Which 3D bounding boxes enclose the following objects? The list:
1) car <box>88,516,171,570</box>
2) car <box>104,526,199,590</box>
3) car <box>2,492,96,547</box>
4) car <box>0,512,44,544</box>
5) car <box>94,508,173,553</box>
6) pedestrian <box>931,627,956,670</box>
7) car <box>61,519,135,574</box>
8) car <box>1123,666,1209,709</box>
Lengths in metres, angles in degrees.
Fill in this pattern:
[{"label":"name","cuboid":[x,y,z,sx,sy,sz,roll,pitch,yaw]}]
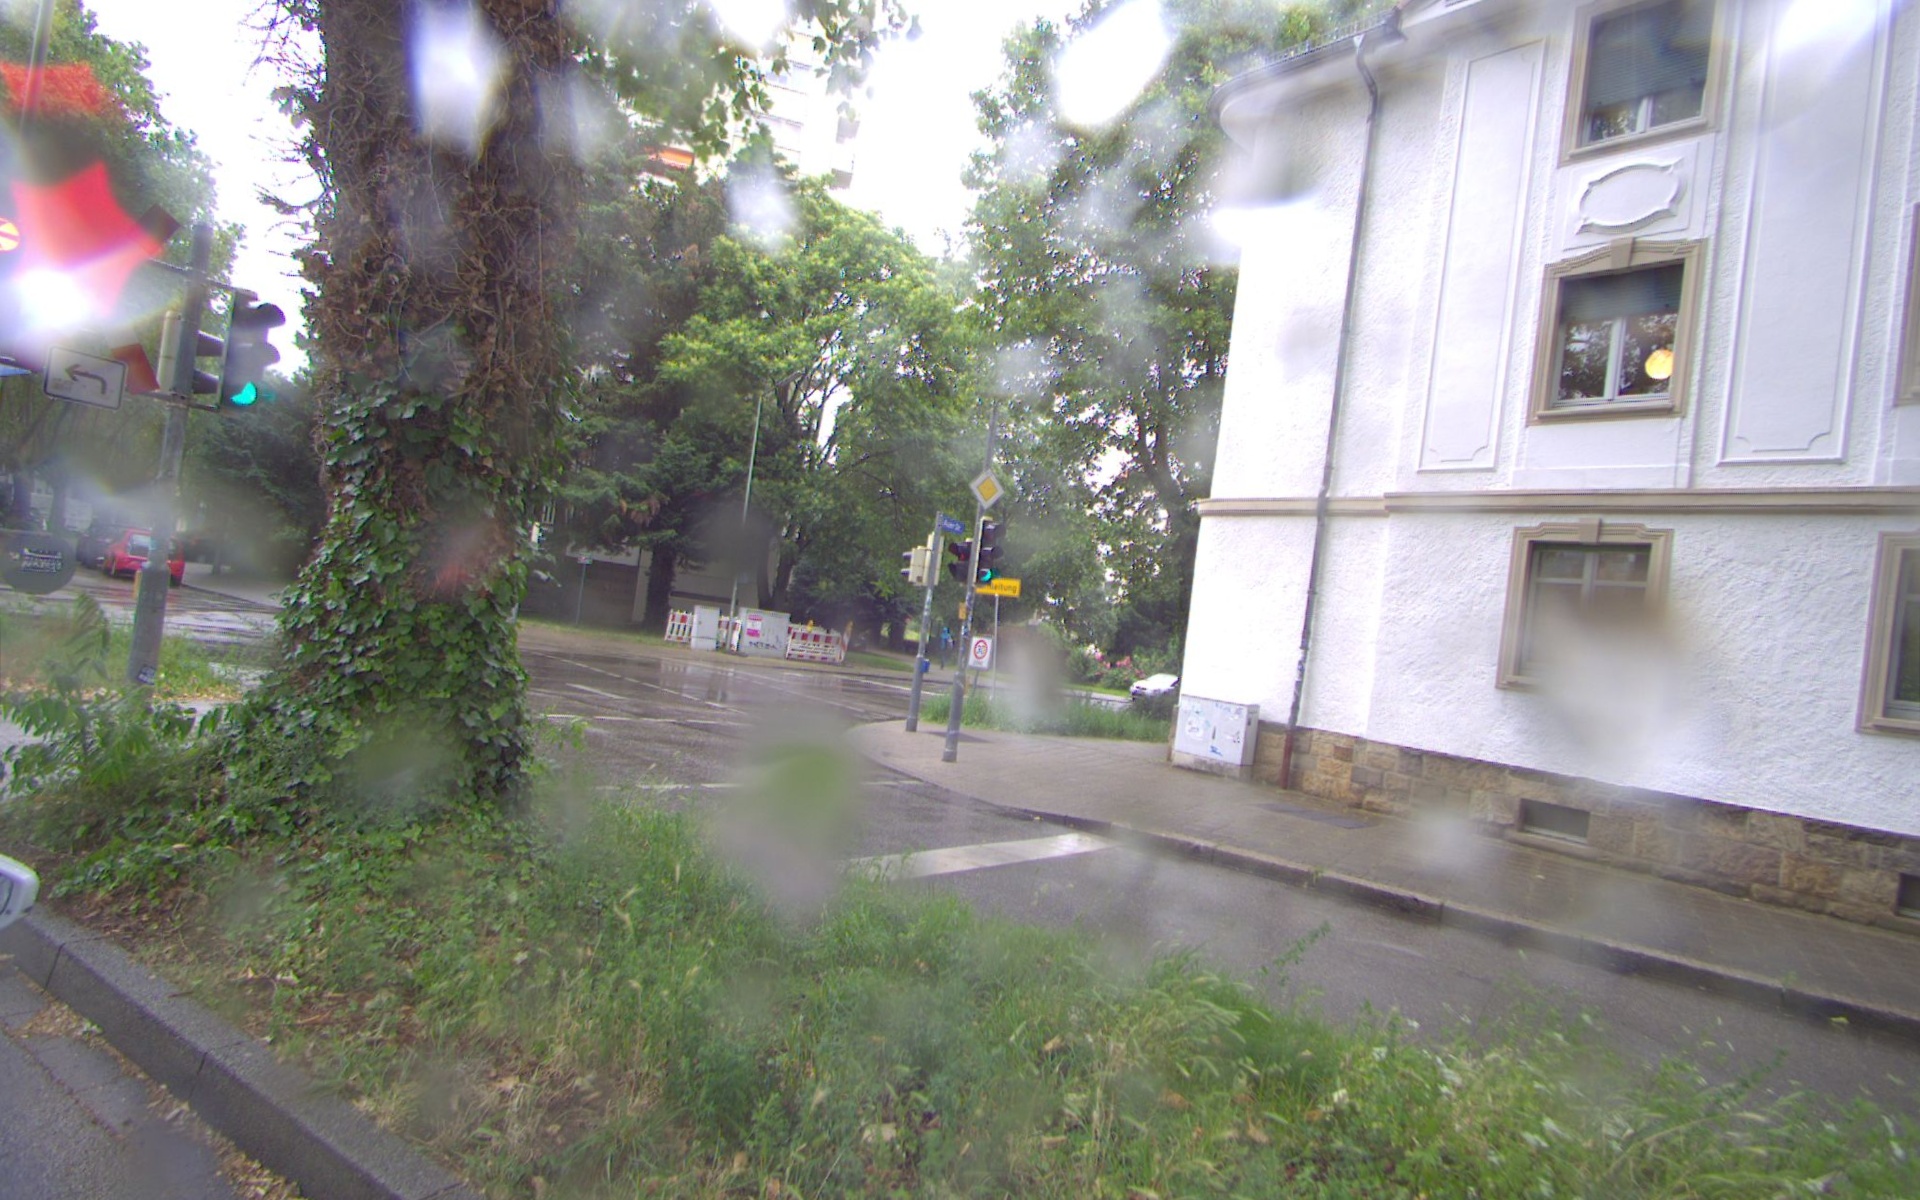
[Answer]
[{"label":"car","cuboid":[-28.093,-1.939,33.997,1.780,1.363,3.879,10,-2,-44]},{"label":"car","cuboid":[-24.827,-1.311,30.840,1.788,1.515,3.950,10,-2,-44]},{"label":"car","cuboid":[-61.104,-5.394,67.532,4.680,2.982,2.043,7,-1,12]},{"label":"car","cuboid":[-56.199,-4.379,58.627,1.974,1.565,3.980,6,-3,44]},{"label":"car","cuboid":[-69.641,-5.844,84.813,4.683,2.982,2.001,7,-1,1]},{"label":"pedestrian","cuboid":[-0.757,2.260,46.815,0.675,1.863,0.707,8,-1,-44]},{"label":"car","cuboid":[-32.978,-2.080,38.452,1.779,1.747,3.951,9,-2,-44]},{"label":"car","cuboid":[9.416,3.998,45.801,1.829,1.473,3.979,6,-3,45]}]
